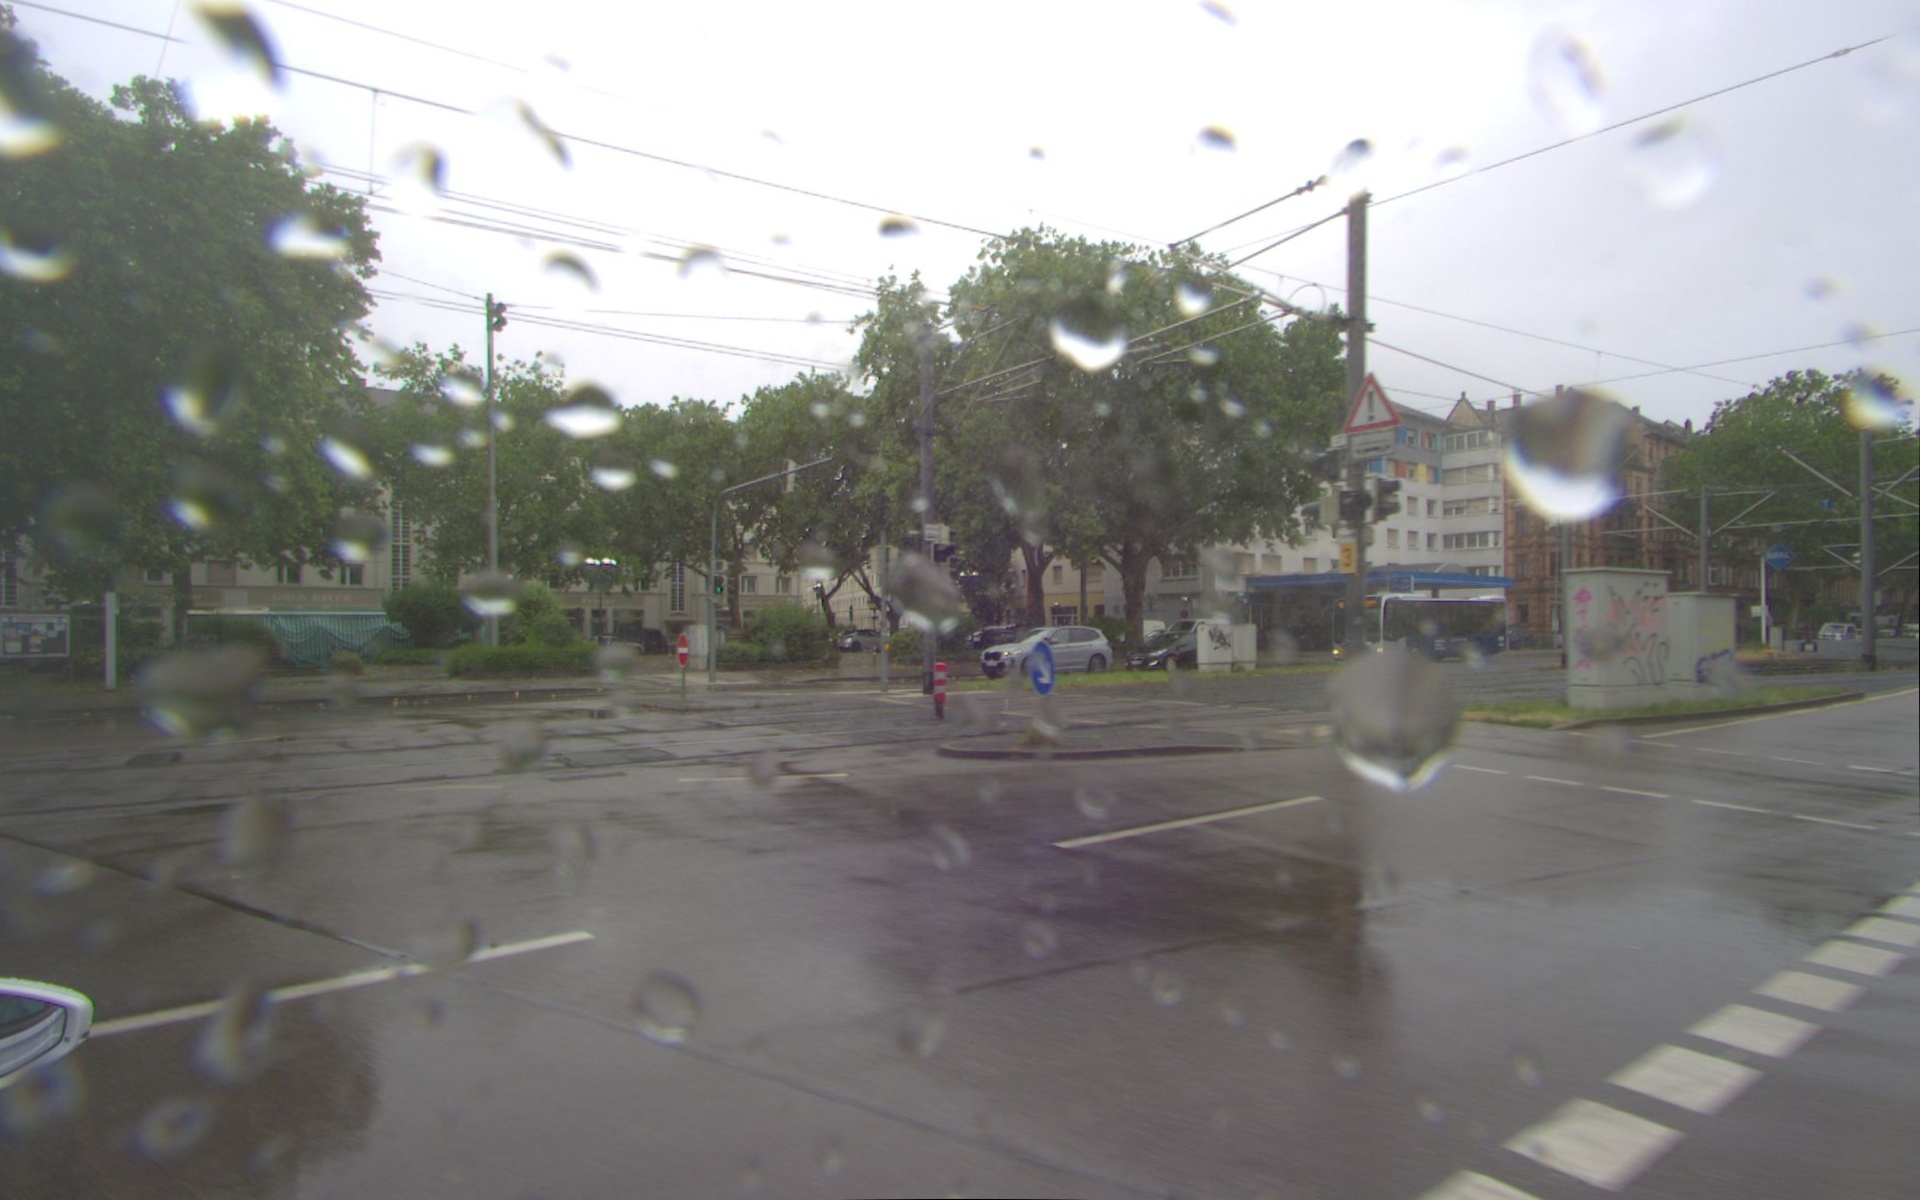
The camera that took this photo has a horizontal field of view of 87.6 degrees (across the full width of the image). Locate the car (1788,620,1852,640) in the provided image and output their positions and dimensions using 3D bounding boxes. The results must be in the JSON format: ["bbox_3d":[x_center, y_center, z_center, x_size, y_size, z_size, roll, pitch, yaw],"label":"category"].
[{"bbox_3d":[72.218,2.497,84.176,3.762,1.645,1.769,-1,-1,29],"label":"car"}]

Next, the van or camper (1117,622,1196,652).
[{"bbox_3d":[11.059,2.059,56.196,4.621,1.619,1.983,1,-1,-41],"label":"van or camper"}]

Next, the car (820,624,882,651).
[{"bbox_3d":[-6.937,2.347,63.379,1.979,1.639,3.965,0,-2,-41],"label":"car"}]

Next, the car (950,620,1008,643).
[{"bbox_3d":[1.332,2.202,69.816,3.851,1.572,1.814,0,-2,-40],"label":"car"}]

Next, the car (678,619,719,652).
[{"bbox_3d":[-19.060,2.603,72.961,1.535,2.230,4.073,0,-4,-36],"label":"car"}]

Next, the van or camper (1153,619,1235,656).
[{"bbox_3d":[12.653,1.988,53.982,4.621,1.939,1.983,1,-1,-41],"label":"van or camper"}]

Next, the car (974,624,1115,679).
[{"bbox_3d":[2.738,1.585,31.801,4.502,1.620,1.778,1,-1,-38],"label":"car"}]

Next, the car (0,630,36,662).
[{"bbox_3d":[-48.084,2.342,50.742,1.666,1.595,3.706,1,-3,-40],"label":"car"}]

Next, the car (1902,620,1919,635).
[{"bbox_3d":[102.828,2.908,106.409,1.754,1.645,3.793,1,-1,-37],"label":"car"}]

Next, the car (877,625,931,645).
[{"bbox_3d":[-4.322,2.734,78.000,3.950,1.471,1.666,0,-2,-36],"label":"car"}]

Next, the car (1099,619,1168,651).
[{"bbox_3d":[10.206,2.033,58.705,4.215,1.802,1.723,1,-1,-41],"label":"car"}]

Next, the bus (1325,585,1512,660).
[{"bbox_3d":[21.518,1.041,46.466,11.962,3.154,2.871,1,-1,-39],"label":"bus"}]

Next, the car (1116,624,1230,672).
[{"bbox_3d":[7.629,1.670,35.716,4.130,1.620,1.765,1,-1,-38],"label":"car"}]

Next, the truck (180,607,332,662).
[{"bbox_3d":[-36.557,1.763,52.101,6.329,2.734,2.250,1,-2,-40],"label":"truck"}]
